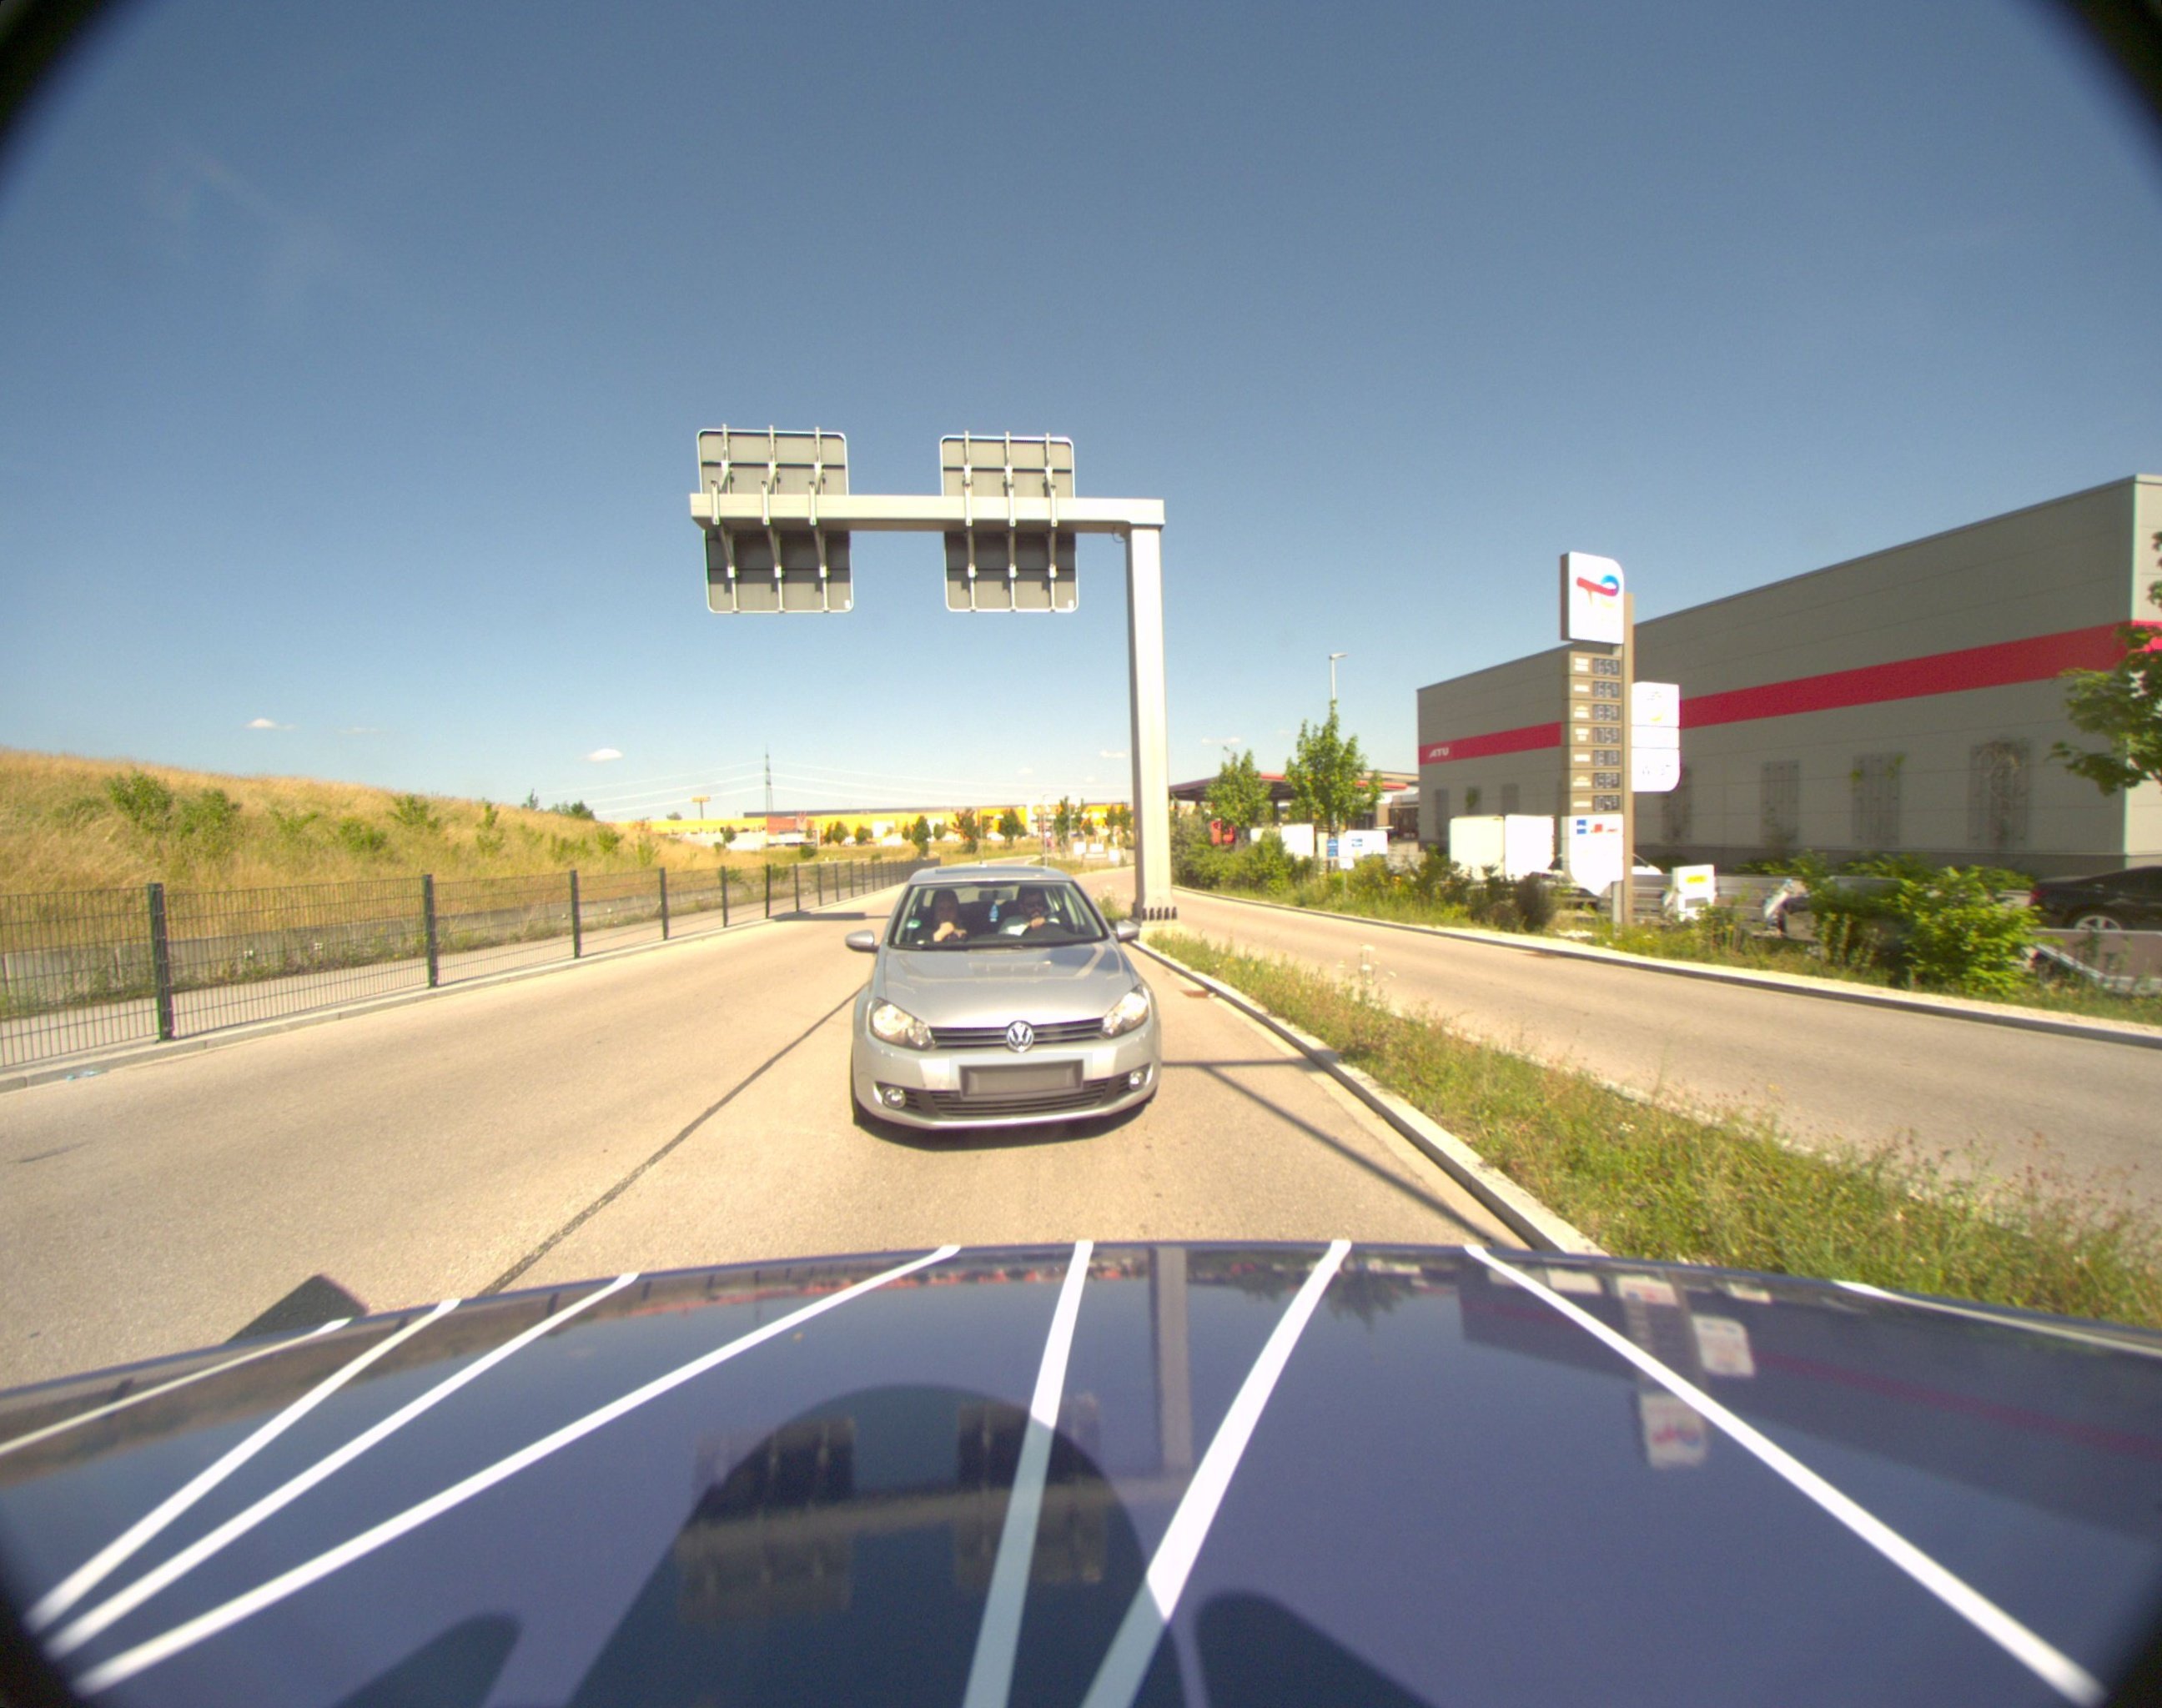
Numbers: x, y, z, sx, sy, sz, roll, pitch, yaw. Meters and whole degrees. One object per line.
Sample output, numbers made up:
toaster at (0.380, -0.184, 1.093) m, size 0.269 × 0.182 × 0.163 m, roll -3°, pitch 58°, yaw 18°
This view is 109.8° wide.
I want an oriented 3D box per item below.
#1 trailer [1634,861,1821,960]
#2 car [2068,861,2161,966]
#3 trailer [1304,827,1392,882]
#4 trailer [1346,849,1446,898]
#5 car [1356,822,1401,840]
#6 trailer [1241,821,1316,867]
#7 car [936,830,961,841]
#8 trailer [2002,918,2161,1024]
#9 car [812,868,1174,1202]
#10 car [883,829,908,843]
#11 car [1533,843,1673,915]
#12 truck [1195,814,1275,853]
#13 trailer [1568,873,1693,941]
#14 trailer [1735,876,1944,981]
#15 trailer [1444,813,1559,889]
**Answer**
trailer at (11.980, 0.957, 14.064) m, size 3.195 × 1.475 × 1.545 m, roll -3°, pitch 2°, yaw -28°
car at (17.205, 0.913, 10.234) m, size 1.803 × 1.475 × 4.494 m, roll -3°, pitch 1°, yaw -6°
trailer at (10.633, -0.011, 30.264) m, size 2.741 × 2.002 × 1.995 m, roll -4°, pitch 2°, yaw -34°
trailer at (11.533, 0.674, 27.738) m, size 3.605 × 1.502 × 1.596 m, roll -4°, pitch 1°, yaw -34°
car at (29.192, -2.287, 74.618) m, size 3.683 × 1.566 × 1.695 m, roll -3°, pitch 2°, yaw -1°
trailer at (9.224, -0.473, 35.413) m, size 1.994 × 2.002 × 3.212 m, roll -1°, pitch 2°, yaw 44°
car at (-26.428, -3.749, 151.441) m, size 4.637 × 2.002 × 1.998 m, roll -3°, pitch 2°, yaw -11°
trailer at (13.404, 1.461, 9.838) m, size 2.842 × 0.877 × 1.861 m, roll -4°, pitch 2°, yaw -39°
car at (-0.666, 0.898, 5.671) m, size 1.747 × 1.459 × 3.957 m, roll 0°, pitch 1°, yaw -8°
car at (-36.563, -3.637, 149.880) m, size 4.637 × 2.534 × 1.998 m, roll -3°, pitch 2°, yaw -11°
car at (13.551, 0.576, 19.668) m, size 4.006 × 1.527 × 1.714 m, roll -4°, pitch 2°, yaw -36°
truck at (14.447, -1.888, 71.306) m, size 6.910 × 3.299 × 2.637 m, roll -3°, pitch 2°, yaw -17°
trailer at (11.331, 1.032, 15.636) m, size 2.780 × 1.080 × 1.317 m, roll -4°, pitch 2°, yaw -37°
trailer at (12.298, 1.130, 12.330) m, size 2.915 × 1.314 × 1.387 m, roll -3°, pitch 2°, yaw -22°
trailer at (12.298, -0.125, 22.182) m, size 3.245 × 2.002 × 1.743 m, roll -4°, pitch 2°, yaw -38°
